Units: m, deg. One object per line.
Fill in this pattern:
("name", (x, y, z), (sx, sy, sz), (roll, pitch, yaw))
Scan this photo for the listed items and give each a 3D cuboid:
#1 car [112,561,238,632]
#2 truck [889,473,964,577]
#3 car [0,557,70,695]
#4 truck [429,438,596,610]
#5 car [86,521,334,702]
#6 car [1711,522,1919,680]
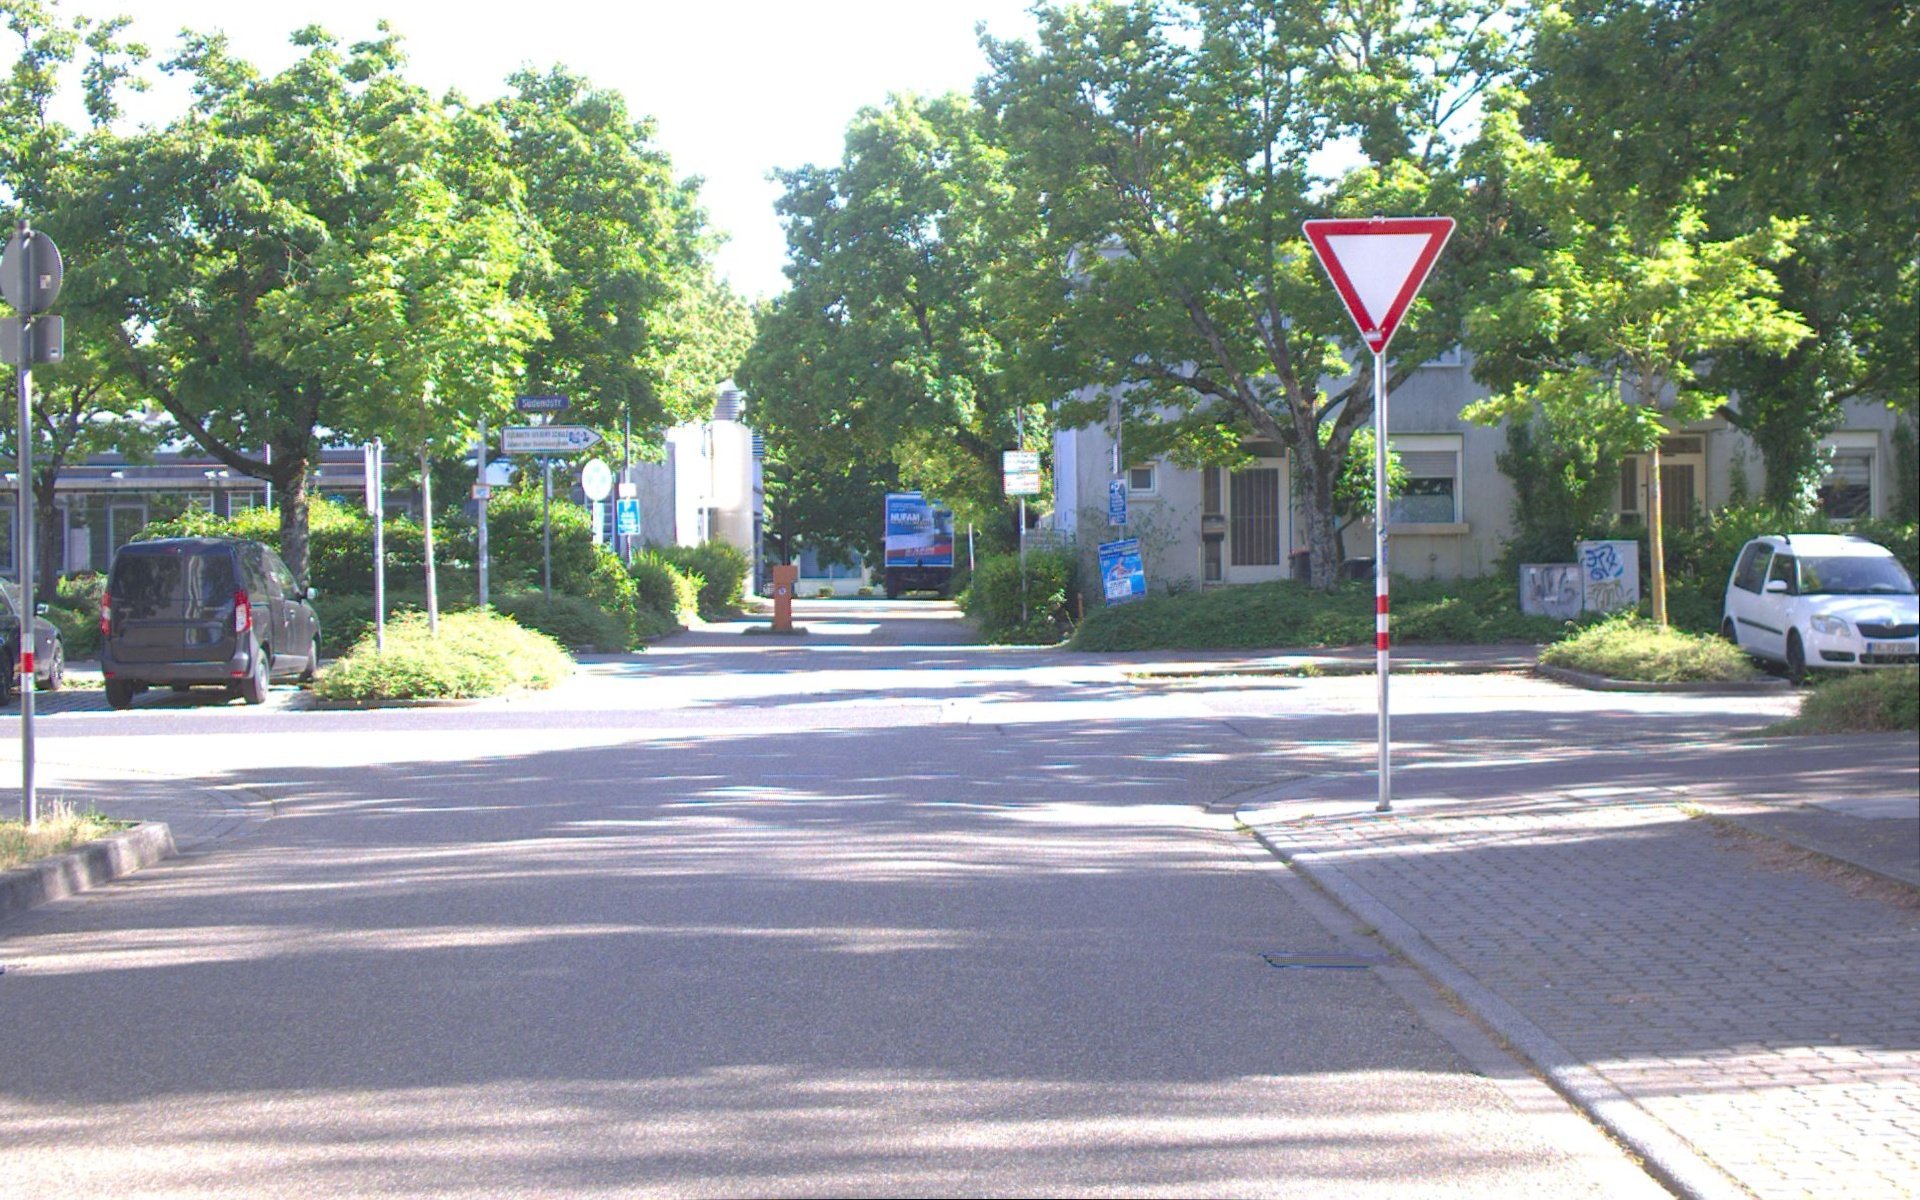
("car", (-17.724, -0.108, 77.779), (1.836, 1.492, 3.908), (-1, 1, 2))
("truck", (-1.273, -2.889, 133.360), (2.760, 3.856, 9.330), (1, 1, 0))
("car", (-11.344, 0.290, 38.449), (1.823, 1.401, 4.169), (-1, 2, -2))
("truck", (-10.285, -1.753, 79.698), (2.802, 3.793, 6.924), (1, 1, 1))
("car", (-8.349, 0.075, 38.609), (1.874, 1.840, 4.169), (-1, 2, 0))
("car", (9.860, -0.038, 38.511), (1.823, 1.592, 4.169), (-1, 2, -2))
